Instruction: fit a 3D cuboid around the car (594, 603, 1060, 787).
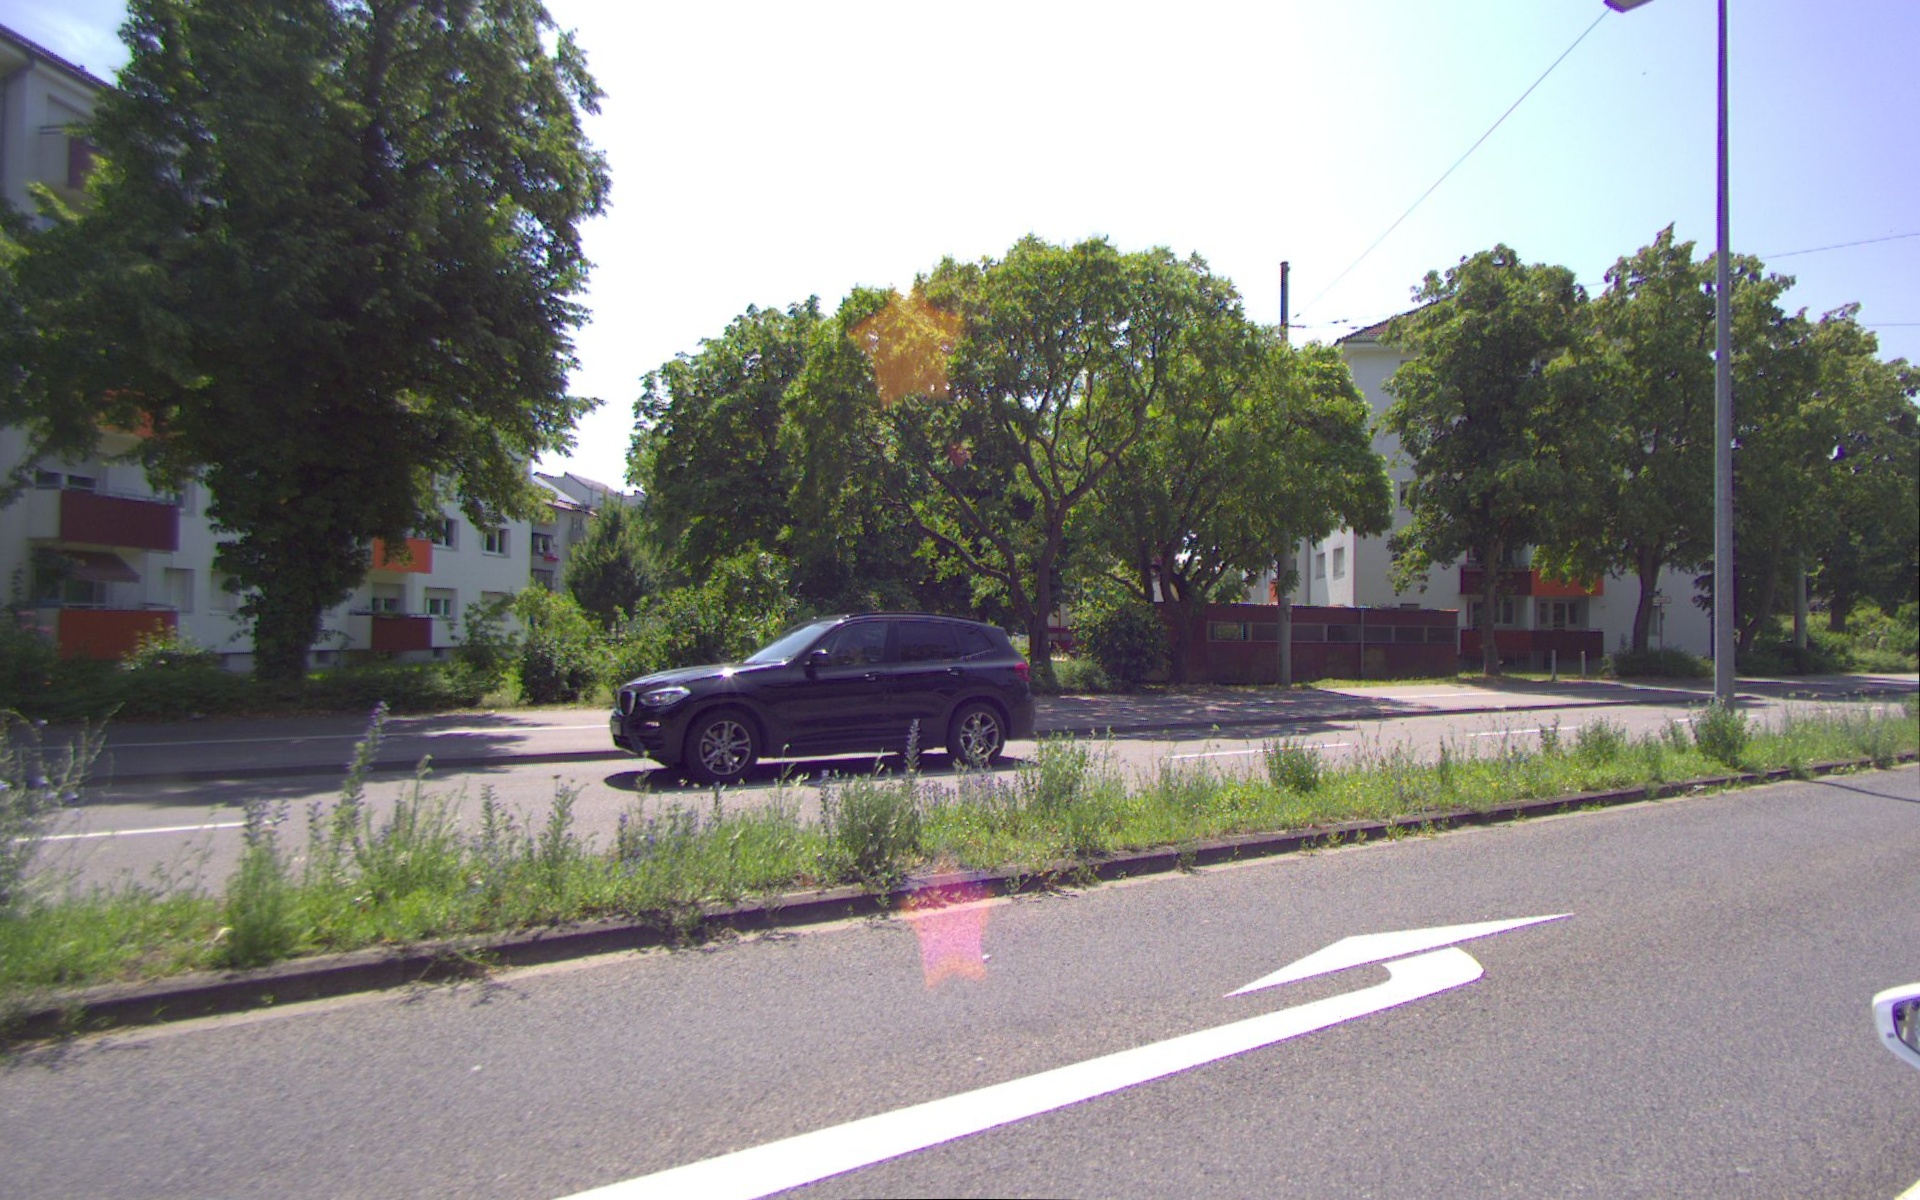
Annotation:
[{"bbox_3d":[-1.367,0.968,11.007,4.701,1.647,1.914,2,-3,-30],"label":"car"}]
